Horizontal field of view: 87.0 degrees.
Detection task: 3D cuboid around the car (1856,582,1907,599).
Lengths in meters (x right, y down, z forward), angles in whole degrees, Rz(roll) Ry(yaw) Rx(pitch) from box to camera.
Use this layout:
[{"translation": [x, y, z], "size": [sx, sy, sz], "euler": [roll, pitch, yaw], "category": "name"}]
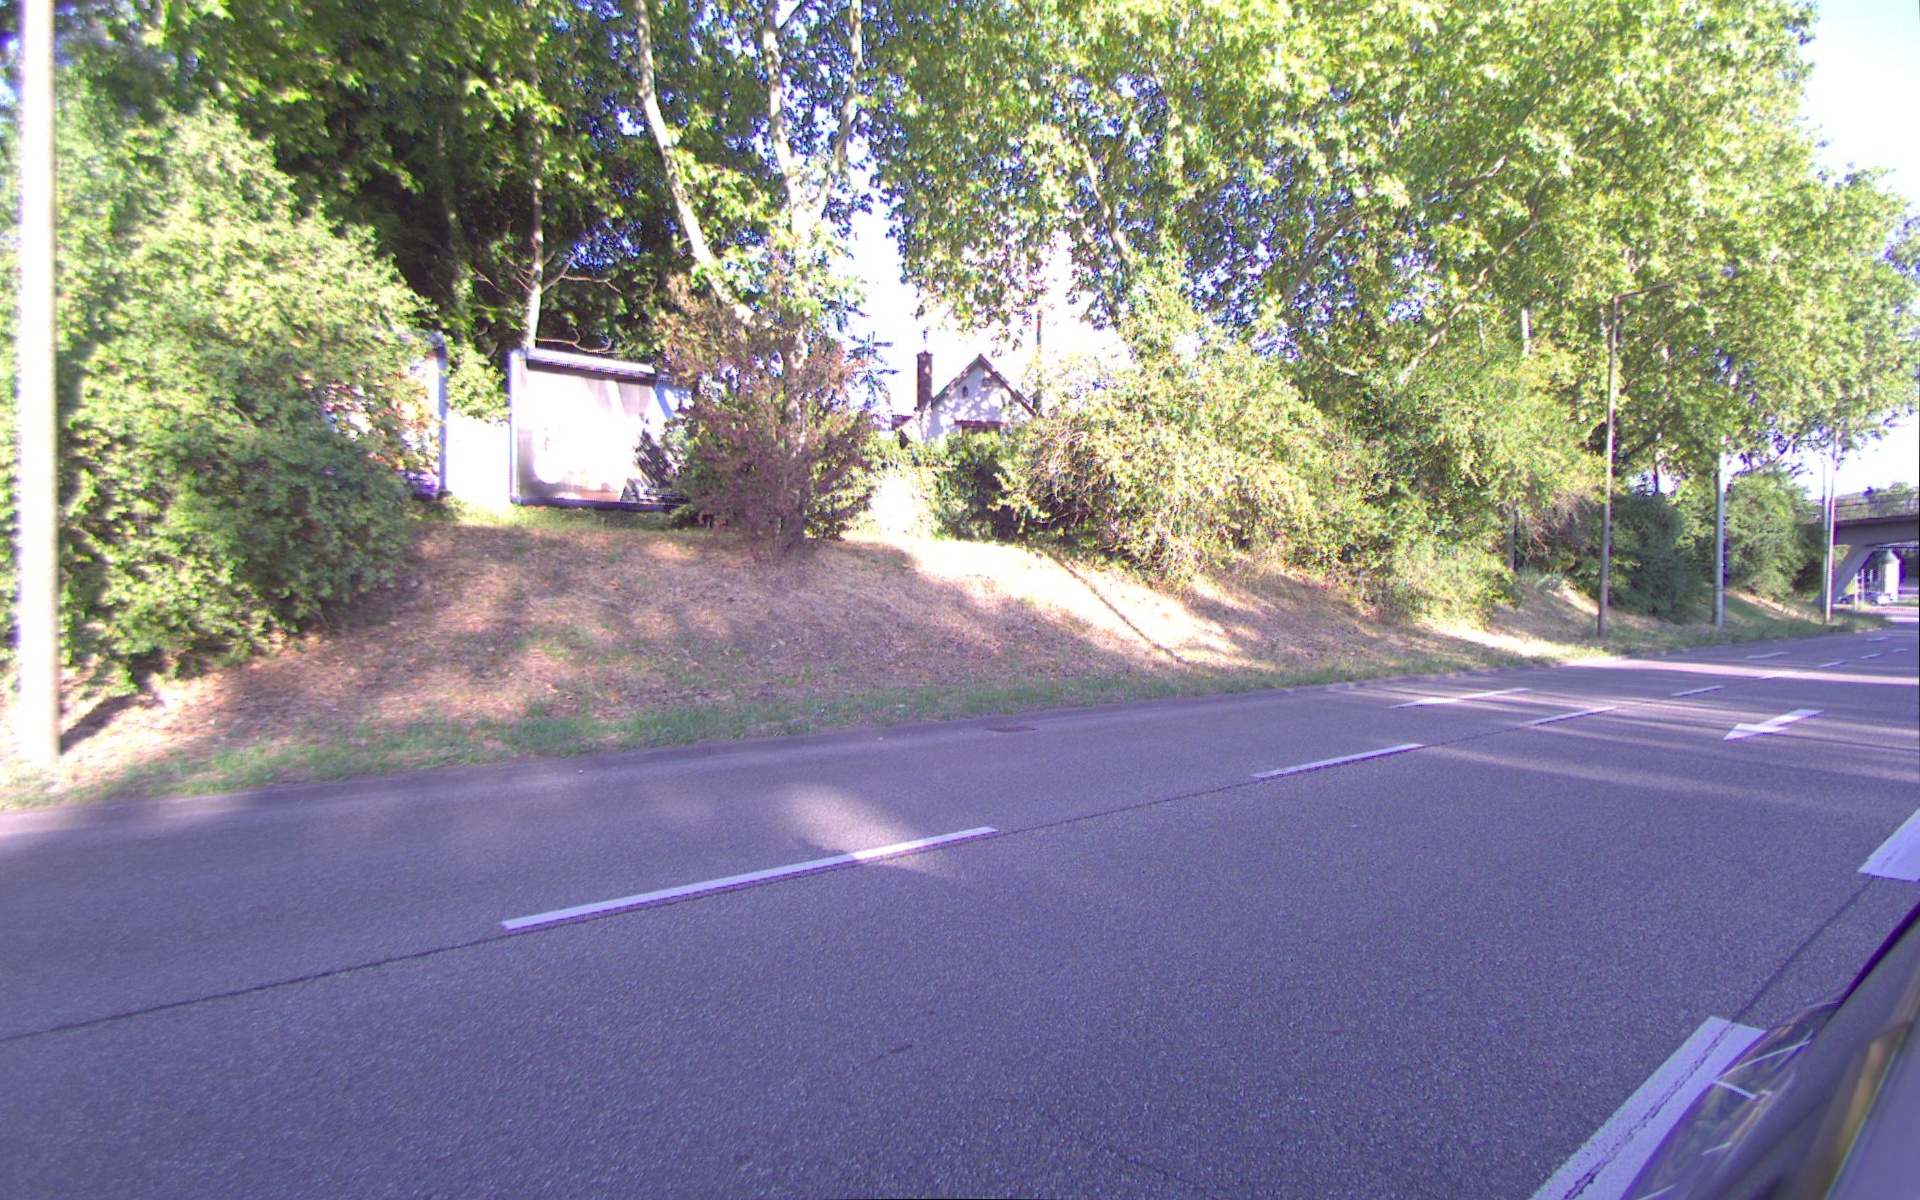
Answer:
[{"translation": [89.809, -0.913, 98.677], "size": [1.578, 1.589, 3.377], "euler": [1, 0, -24], "category": "car"}]
